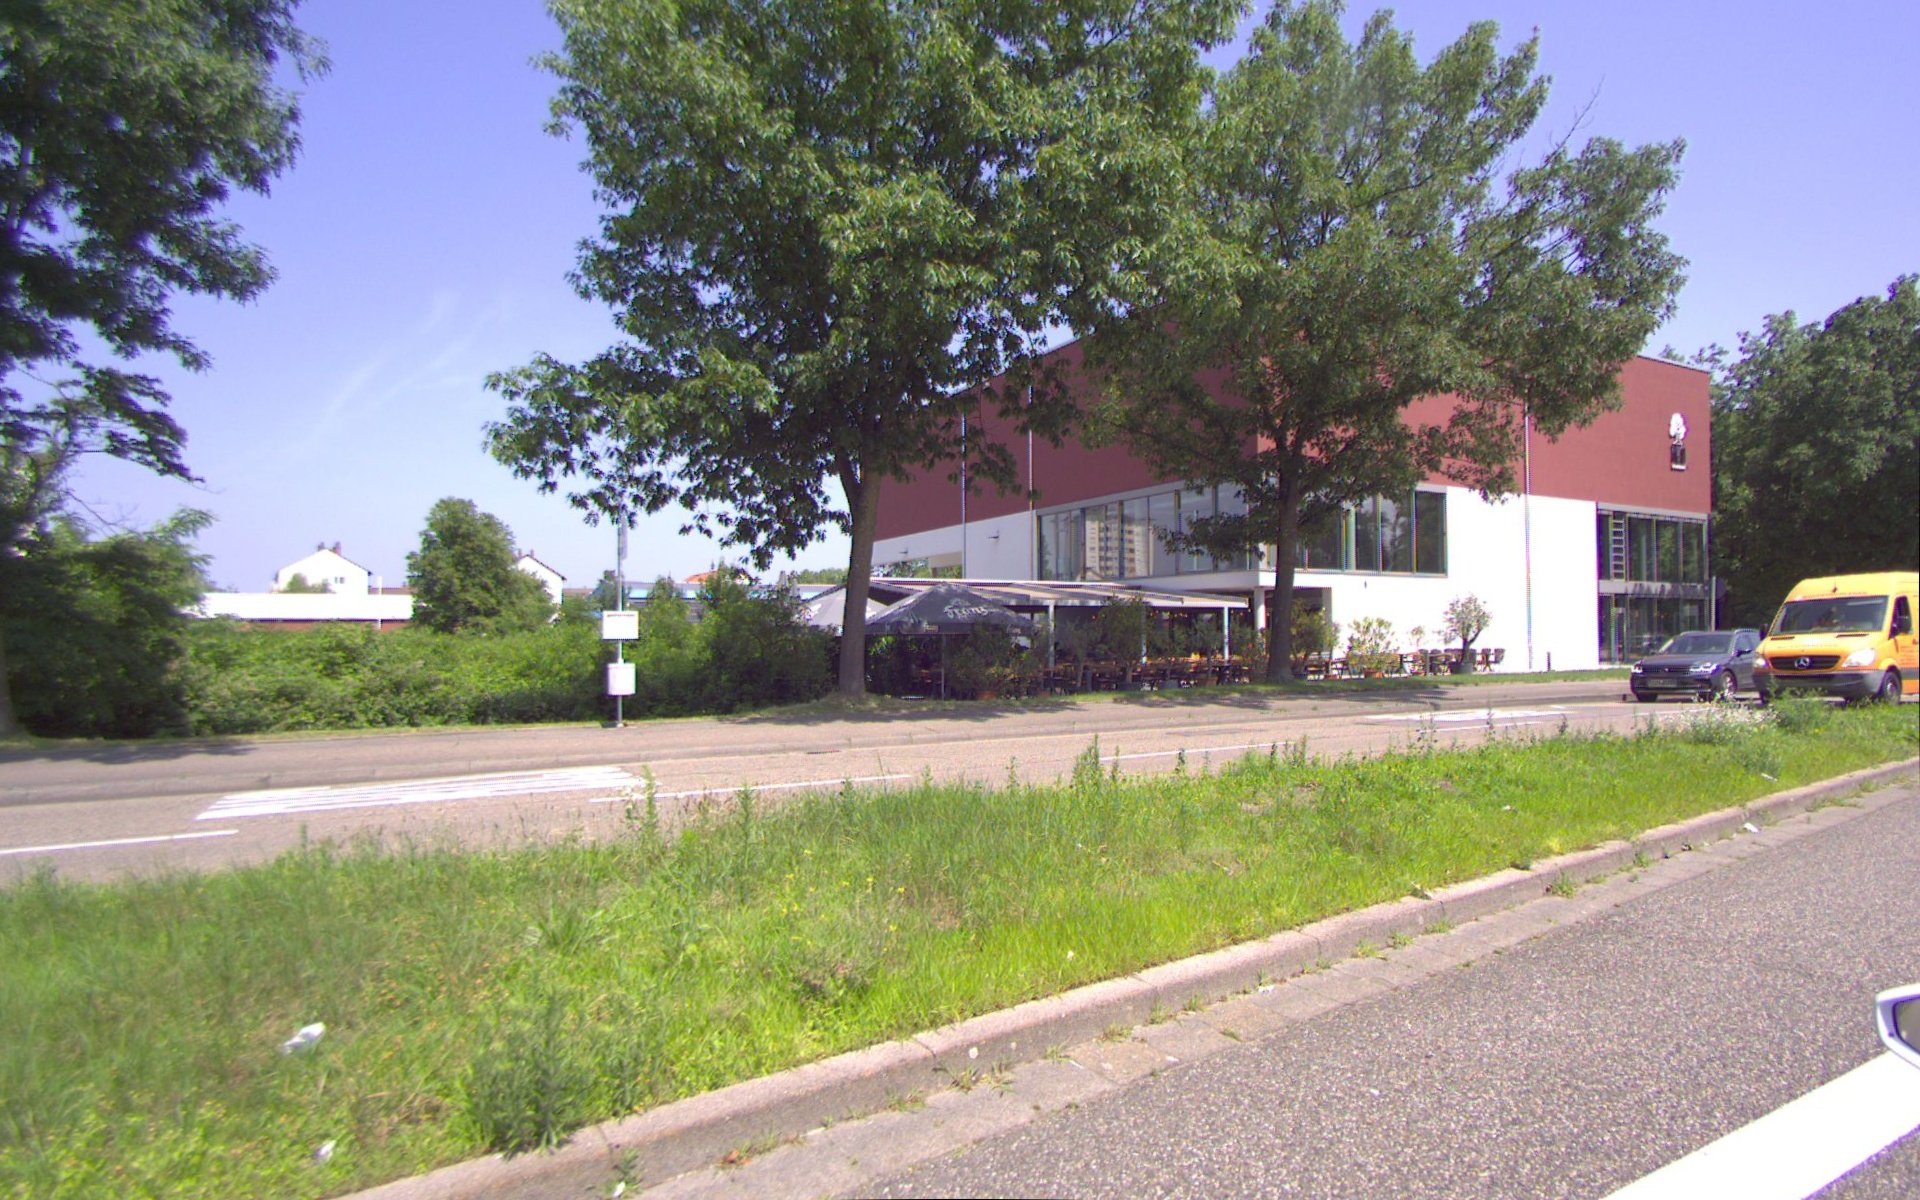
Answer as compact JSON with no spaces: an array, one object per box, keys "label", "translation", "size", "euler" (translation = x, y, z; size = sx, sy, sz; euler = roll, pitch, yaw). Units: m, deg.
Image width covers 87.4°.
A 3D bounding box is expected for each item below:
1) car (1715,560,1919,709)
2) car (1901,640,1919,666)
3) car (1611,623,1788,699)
[{"label":"car","translation":[17.878,0.686,20.027],"size":[5.985,2.601,2.256],"euler":[1,-3,-30]},{"label":"car","translation":[66.150,3.623,67.230],"size":[1.793,1.704,4.340],"euler":[2,-1,-36]},{"label":"car","translation":[17.222,1.403,23.358],"size":[4.162,1.624,1.709],"euler":[1,-4,-30]}]
